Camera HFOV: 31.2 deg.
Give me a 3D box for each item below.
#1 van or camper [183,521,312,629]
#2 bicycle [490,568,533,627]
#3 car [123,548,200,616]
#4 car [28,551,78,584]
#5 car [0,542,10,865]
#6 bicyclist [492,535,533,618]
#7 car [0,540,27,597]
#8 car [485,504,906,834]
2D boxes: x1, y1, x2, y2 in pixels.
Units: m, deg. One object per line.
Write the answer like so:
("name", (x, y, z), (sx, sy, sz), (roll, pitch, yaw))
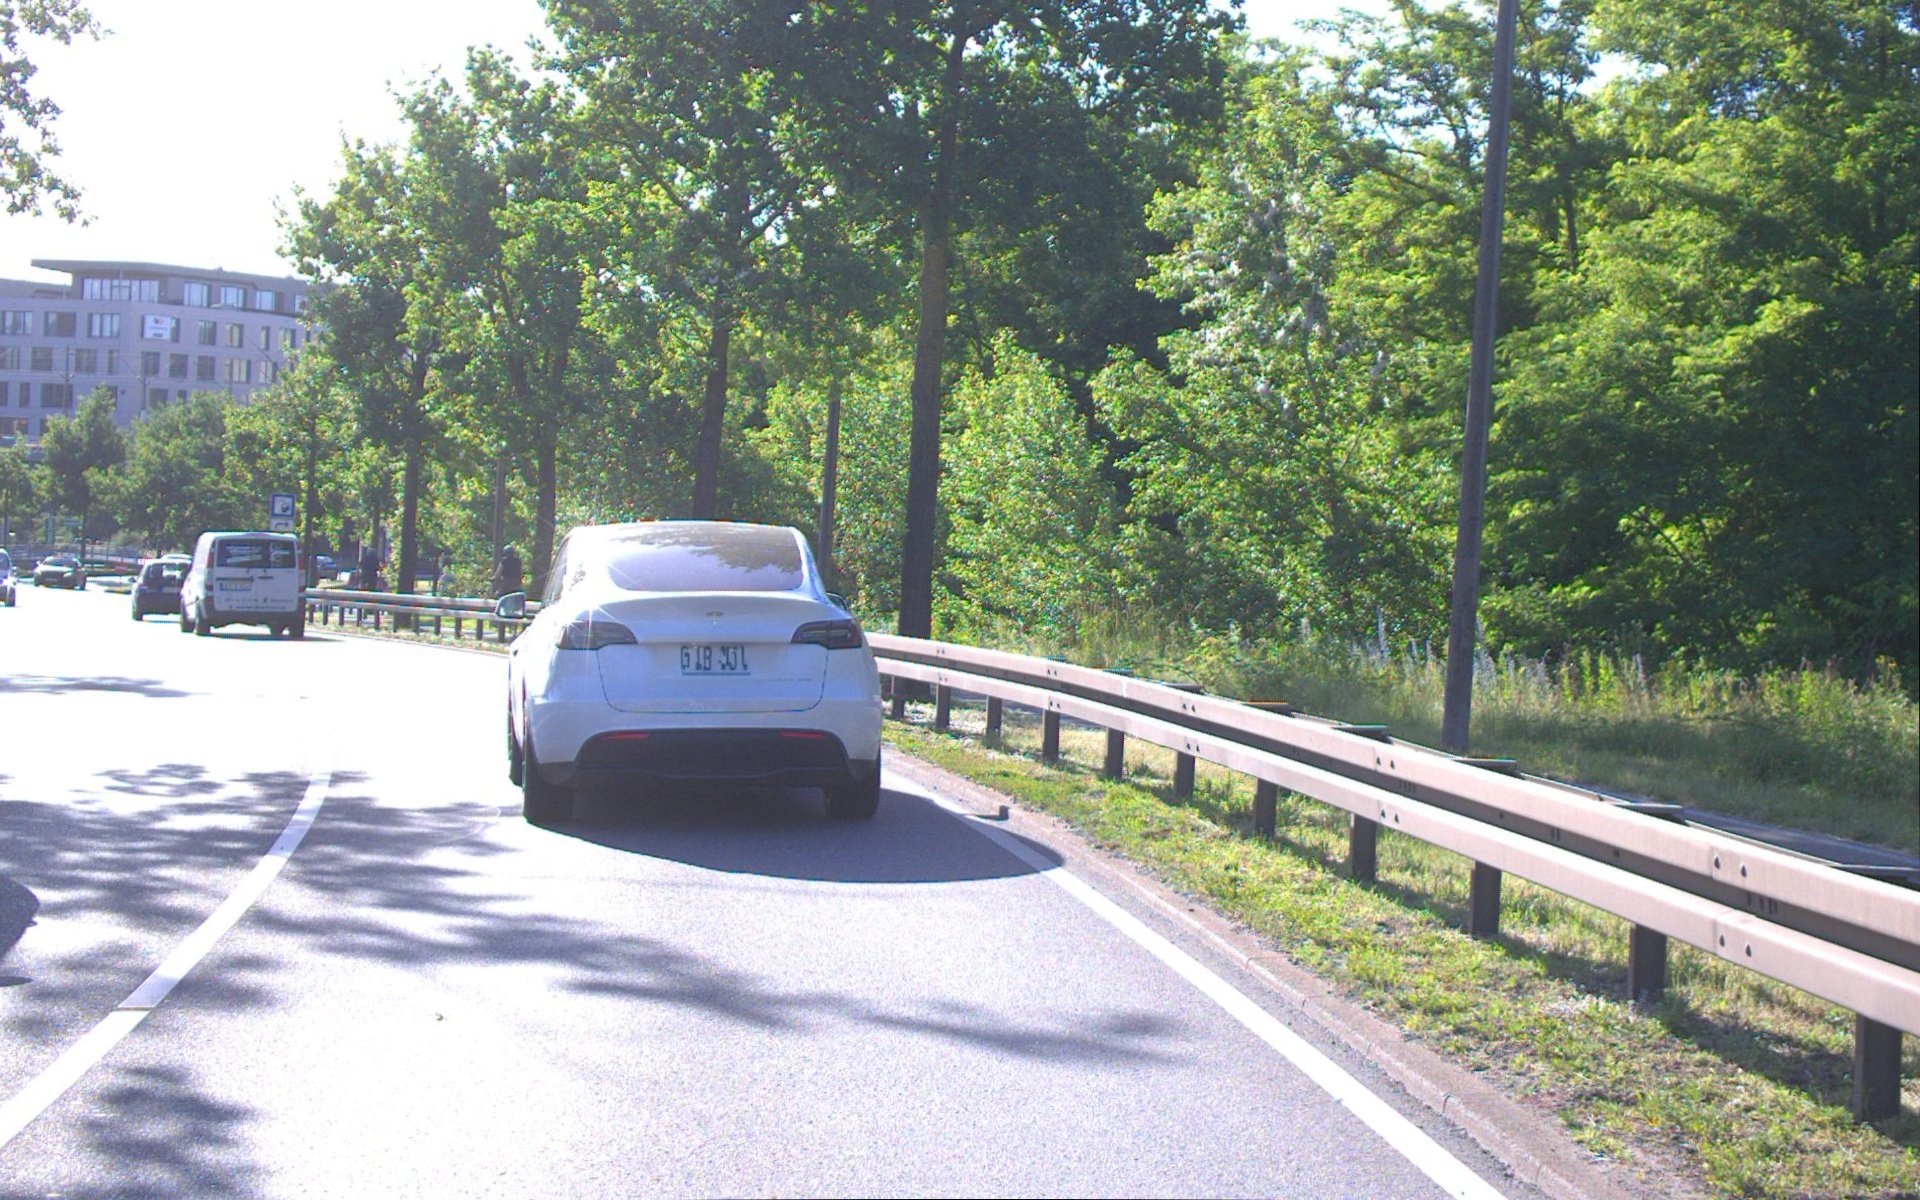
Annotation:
("van or camper", (-13.127, -0.477, 63.137), (1.958, 1.877, 4.881), (1, 1, -16))
("bicycle", (-8.620, -0.044, 66.116), (0.701, 1.071, 1.921), (1, -1, -4))
("car", (-18.354, -0.432, 78.953), (1.603, 1.429, 3.679), (3, 0, -14))
("car", (-41.363, -1.498, 156.896), (1.691, 1.436, 4.217), (1, 1, -8))
("car", (-5.081, 0.491, 14.123), (1.695, 1.513, 3.982), (1, 1, -7))
("bicyclist", (-8.610, -0.440, 66.135), (0.707, 1.573, 1.005), (1, -1, -5))
("car", (-26.997, -0.905, 95.649), (1.808, 1.549, 4.142), (1, 1, -17))
("car", (-1.632, 0.327, 19.619), (1.913, 1.635, 4.411), (1, 1, -10))
